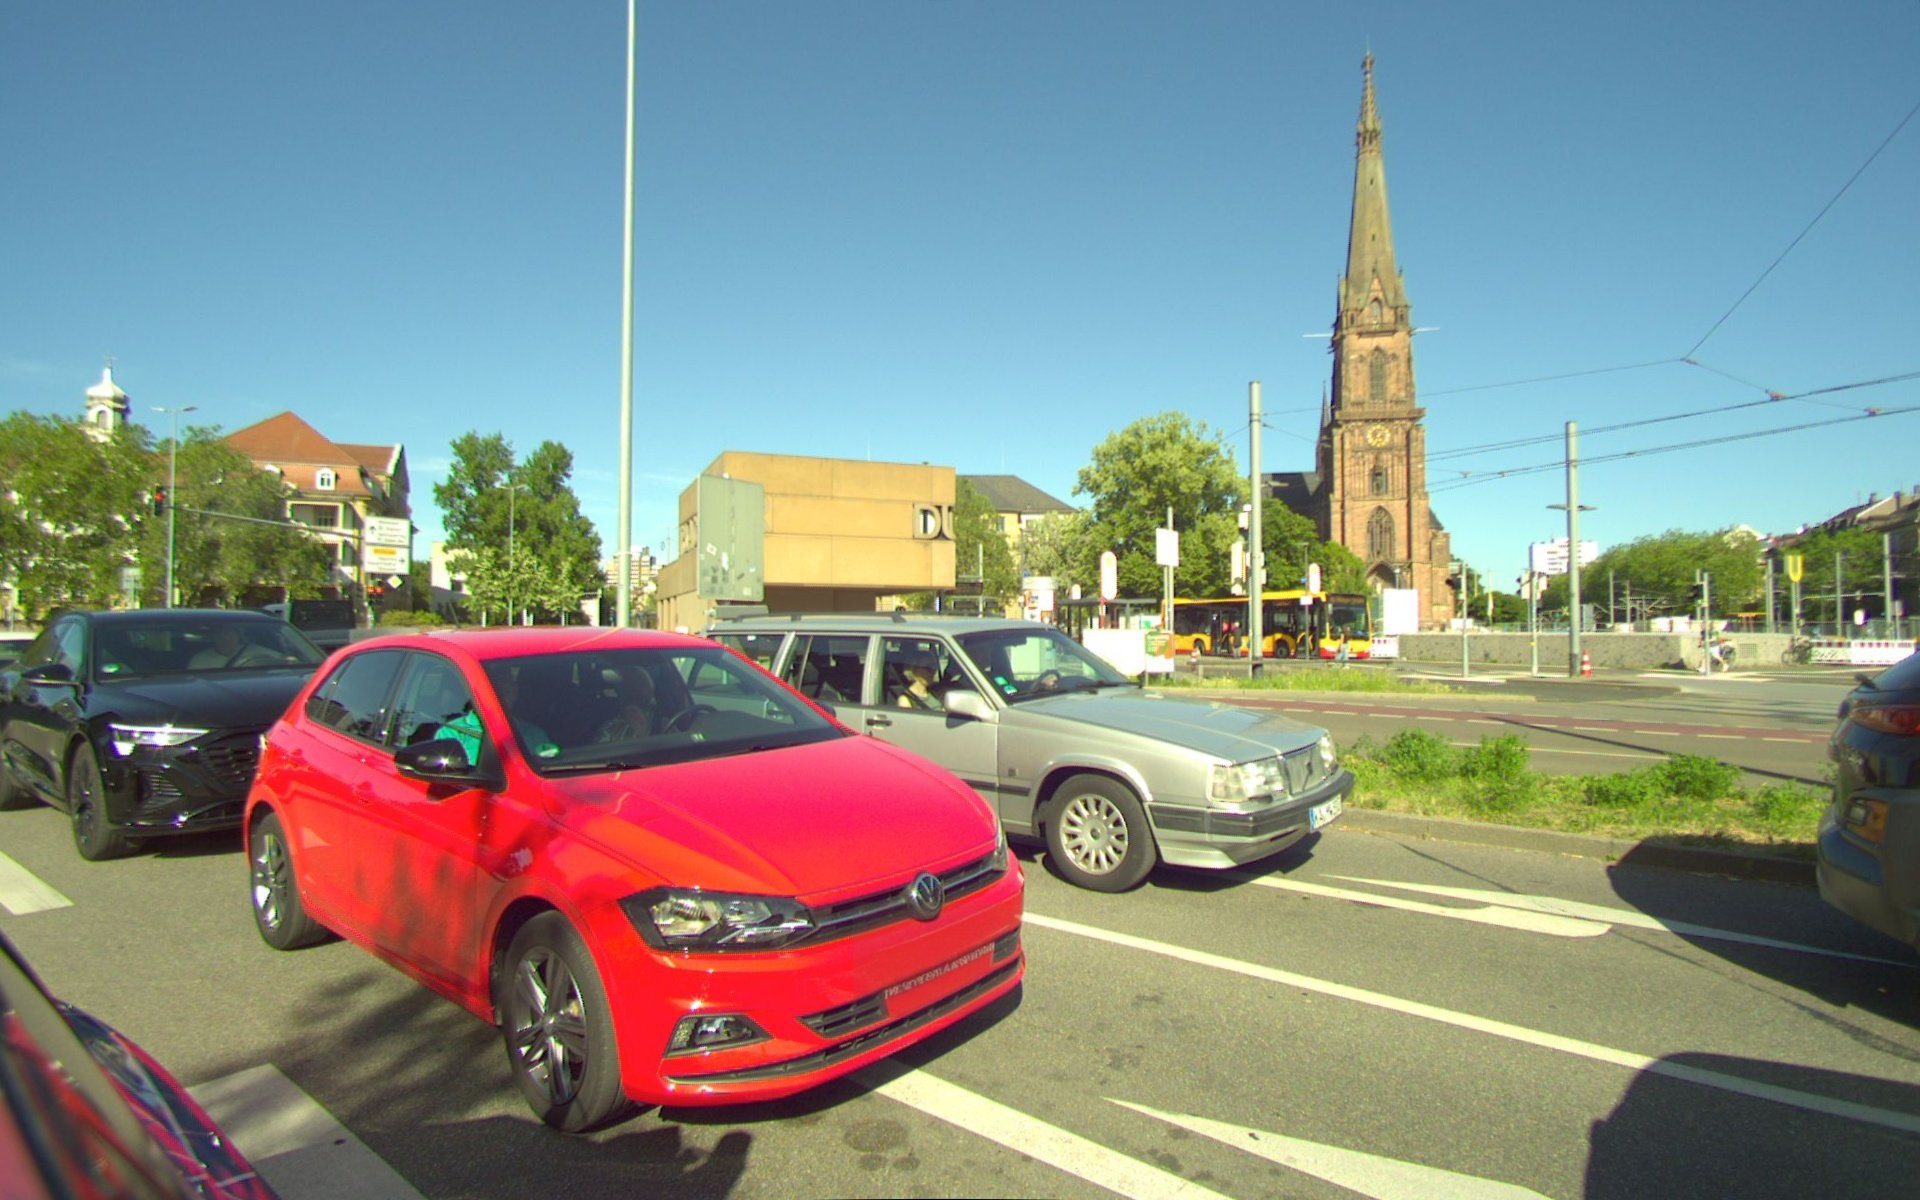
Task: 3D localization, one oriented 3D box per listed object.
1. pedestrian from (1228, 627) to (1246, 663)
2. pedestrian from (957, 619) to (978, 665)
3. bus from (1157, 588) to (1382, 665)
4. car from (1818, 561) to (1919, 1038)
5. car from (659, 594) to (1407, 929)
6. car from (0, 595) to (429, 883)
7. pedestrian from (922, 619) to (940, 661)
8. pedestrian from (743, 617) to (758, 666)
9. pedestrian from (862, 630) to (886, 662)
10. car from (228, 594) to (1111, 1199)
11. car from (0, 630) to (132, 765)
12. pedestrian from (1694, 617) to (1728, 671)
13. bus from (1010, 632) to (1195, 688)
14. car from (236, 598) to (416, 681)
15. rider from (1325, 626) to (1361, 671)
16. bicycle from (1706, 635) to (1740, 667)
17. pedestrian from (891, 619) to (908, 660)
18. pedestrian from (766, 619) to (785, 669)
[{"bbox_3d":[11.864,1.912,43.354,0.561,1.525,0.529,-1,-1,-13],"label":"pedestrian"},{"bbox_3d":[0.293,1.633,39.437,0.634,1.789,0.470,1,-2,-29],"label":"pedestrian"},{"bbox_3d":[13.636,1.266,46.501,2.715,3.088,12.201,1,-2,-22],"label":"bus"},{"bbox_3d":[4.950,0.601,2.646,4.010,1.529,1.738,-2,-2,44],"label":"car"},{"bbox_3d":[0.187,0.771,6.628,4.744,1.484,1.693,-2,-1,38],"label":"car"},{"bbox_3d":[-6.097,0.855,7.857,4.447,1.628,1.836,-2,-2,38],"label":"car"},{"bbox_3d":[-1.240,1.726,43.532,0.468,1.789,0.638,-2,-2,36],"label":"pedestrian"},{"bbox_3d":[-7.694,1.513,37.202,0.460,1.789,0.648,0,-2,-21],"label":"pedestrian"},{"bbox_3d":[-3.546,1.882,41.676,0.635,1.320,0.764,1,-2,-40],"label":"pedestrian"},{"bbox_3d":[-1.475,0.772,4.174,3.851,1.484,1.652,-2,-1,40],"label":"car"},{"bbox_3d":[-11.786,1.123,12.437,3.705,1.429,1.557,-2,0,35],"label":"car"},{"bbox_3d":[26.613,1.551,35.848,0.882,1.869,0.679,-2,-3,41],"label":"pedestrian"},{"bbox_3d":[3.400,1.403,24.528,4.174,1.251,1.627,-2,-2,36],"label":"bus"},{"bbox_3d":[-19.448,1.212,30.951,6.192,2.331,2.094,-1,-3,31],"label":"car"},{"bbox_3d":[12.840,1.626,33.936,0.658,1.475,0.864,1,-2,-29],"label":"rider"},{"bbox_3d":[28.528,1.888,37.819,1.232,1.182,0.471,1,-2,-25],"label":"bicycle"},{"bbox_3d":[-2.687,1.759,44.909,0.468,1.789,0.638,-2,-2,36],"label":"pedestrian"},{"bbox_3d":[-6.646,1.570,36.516,0.635,1.789,0.618,0,-2,-7],"label":"pedestrian"}]
